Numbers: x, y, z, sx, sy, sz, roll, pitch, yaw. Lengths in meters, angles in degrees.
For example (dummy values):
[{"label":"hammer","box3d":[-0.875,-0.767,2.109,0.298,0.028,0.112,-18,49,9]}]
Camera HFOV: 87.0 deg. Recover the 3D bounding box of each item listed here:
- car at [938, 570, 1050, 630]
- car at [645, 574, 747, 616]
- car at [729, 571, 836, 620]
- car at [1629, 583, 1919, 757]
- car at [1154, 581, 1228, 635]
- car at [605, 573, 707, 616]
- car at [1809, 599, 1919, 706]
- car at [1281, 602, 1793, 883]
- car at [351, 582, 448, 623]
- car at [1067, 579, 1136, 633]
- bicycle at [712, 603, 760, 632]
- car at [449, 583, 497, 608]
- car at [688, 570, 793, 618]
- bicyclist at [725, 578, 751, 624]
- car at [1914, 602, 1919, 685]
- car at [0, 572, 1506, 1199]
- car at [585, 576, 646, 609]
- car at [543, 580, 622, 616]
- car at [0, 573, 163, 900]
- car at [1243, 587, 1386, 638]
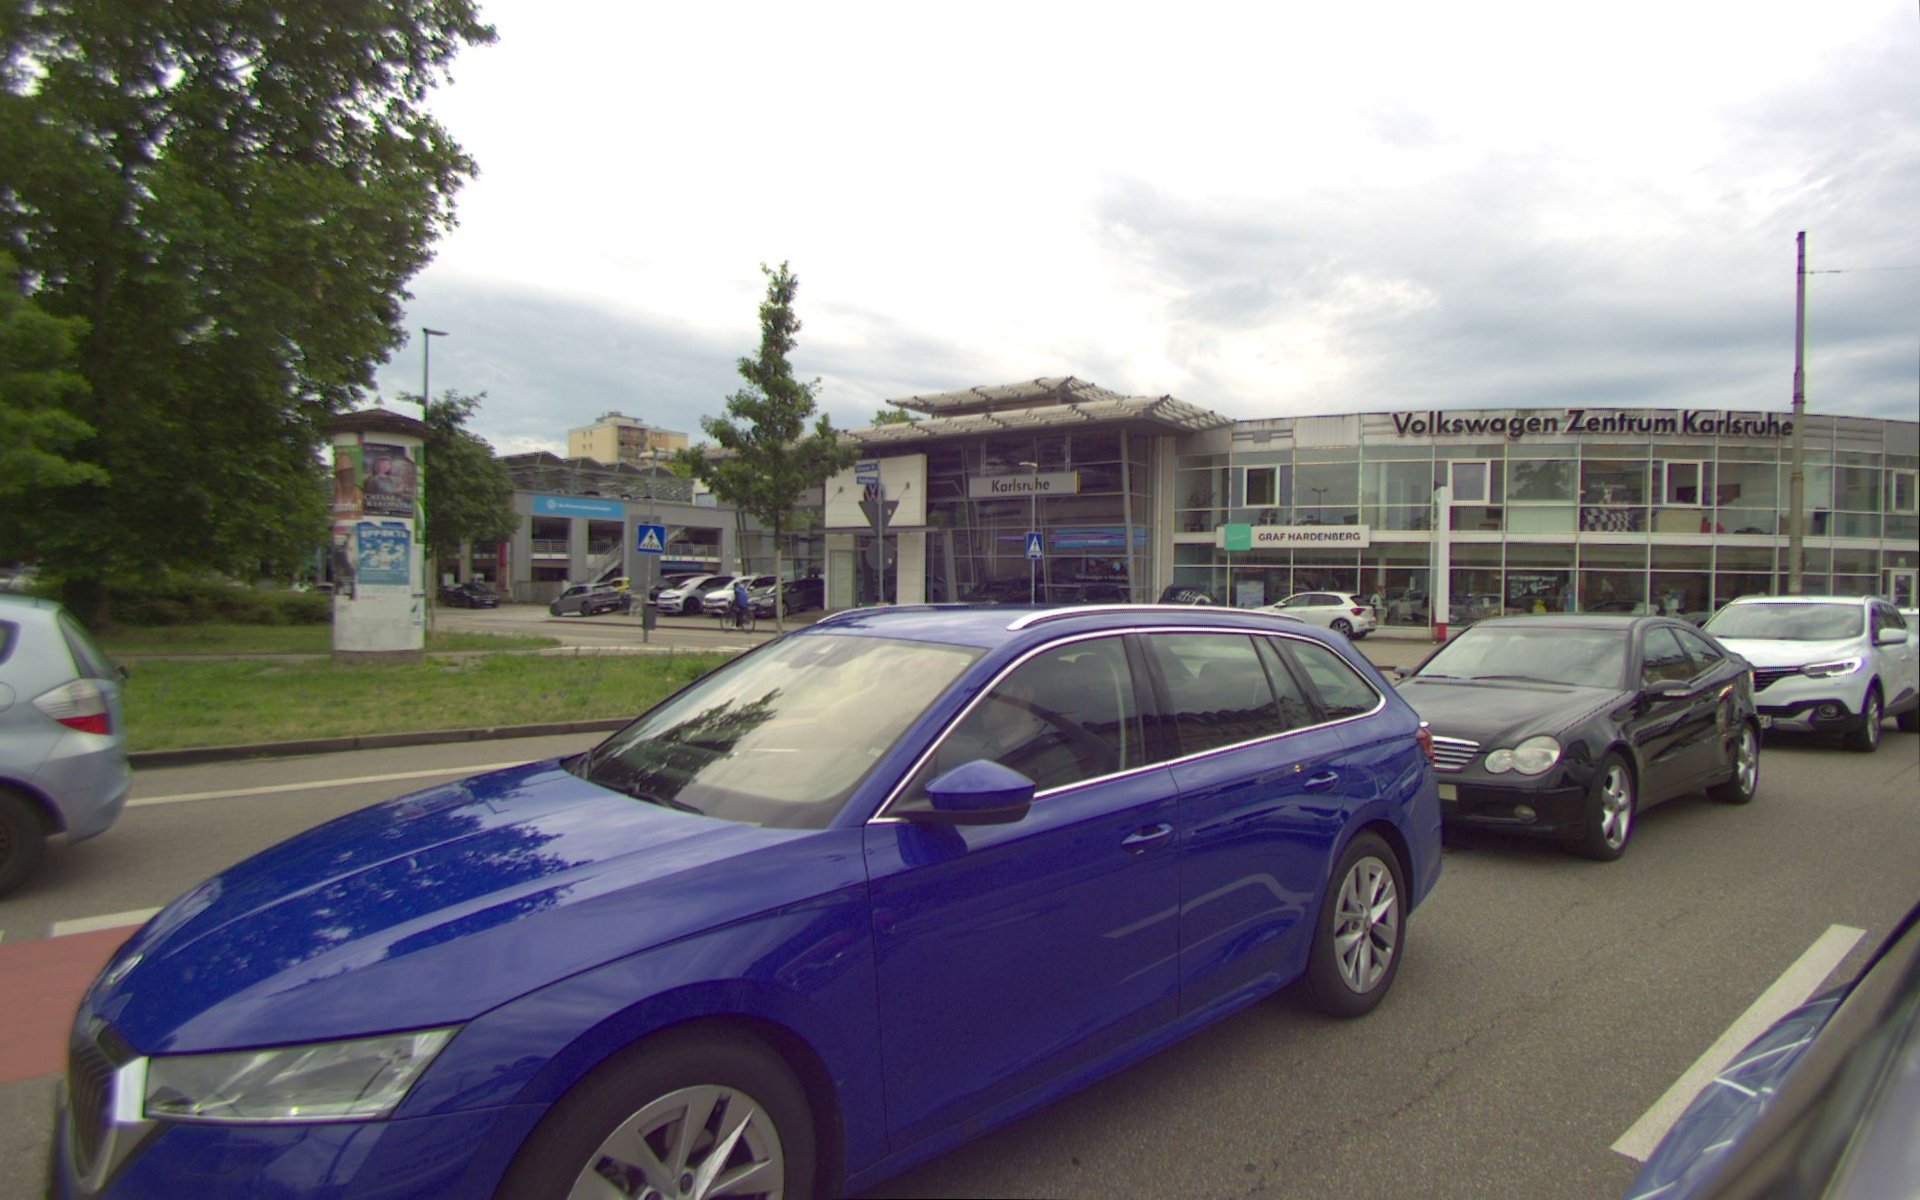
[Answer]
[{"label":"car","box3d":[1.296,-0.072,35.833,1.942,1.662,4.627,1,5,31]},{"label":"car","box3d":[-11.965,-0.273,46.114,1.946,1.483,4.178,2,6,37]},{"label":"car","box3d":[-7.429,-0.260,42.709,1.946,1.472,4.180,2,9,37]},{"label":"car","box3d":[9.418,0.630,11.352,4.069,1.578,1.983,0,1,-38]},{"label":"car","box3d":[7.361,0.203,32.609,1.760,1.580,4.029,1,1,5]},{"label":"car","box3d":[-14.246,-0.325,47.597,1.946,1.529,4.179,2,7,37]},{"label":"car","box3d":[14.700,0.732,15.423,3.899,1.454,1.909,0,1,-38]},{"label":"car","box3d":[4.302,0.732,7.242,4.343,1.388,1.769,0,0,-40]},{"label":"car","box3d":[-23.917,0.055,43.135,4.856,1.562,1.866,2,2,38]},{"label":"car","box3d":[4.707,0.143,33.191,1.927,1.544,4.216,1,3,12]},{"label":"bicycle","box3d":[-7.635,0.579,34.434,1.779,0.923,0.555,2,1,36]},{"label":"car","box3d":[-28.780,-0.283,59.783,1.928,1.358,3.678,-1,2,-37]},{"label":"car","box3d":[-9.600,-0.322,44.512,1.946,1.615,4.179,2,8,37]},{"label":"bicyclist","box3d":[-7.538,0.033,34.335,0.691,1.515,0.548,1,1,36]},{"label":"car","box3d":[19.002,0.796,18.337,3.899,1.454,1.909,0,1,-38]},{"label":"car","box3d":[-0.037,0.678,3.401,4.674,1.454,1.768,0,0,-41]},{"label":"car","box3d":[-17.542,-0.416,51.533,3.106,1.530,1.422,2,5,38]},{"label":"car","box3d":[-18.445,-0.118,49.383,4.128,1.530,1.634,2,5,38]},{"label":"car","box3d":[-5.967,0.629,4.376,3.867,1.502,1.707,0,0,-43]},{"label":"car","box3d":[11.082,0.341,31.731,3.889,1.459,1.708,2,1,40]}]
